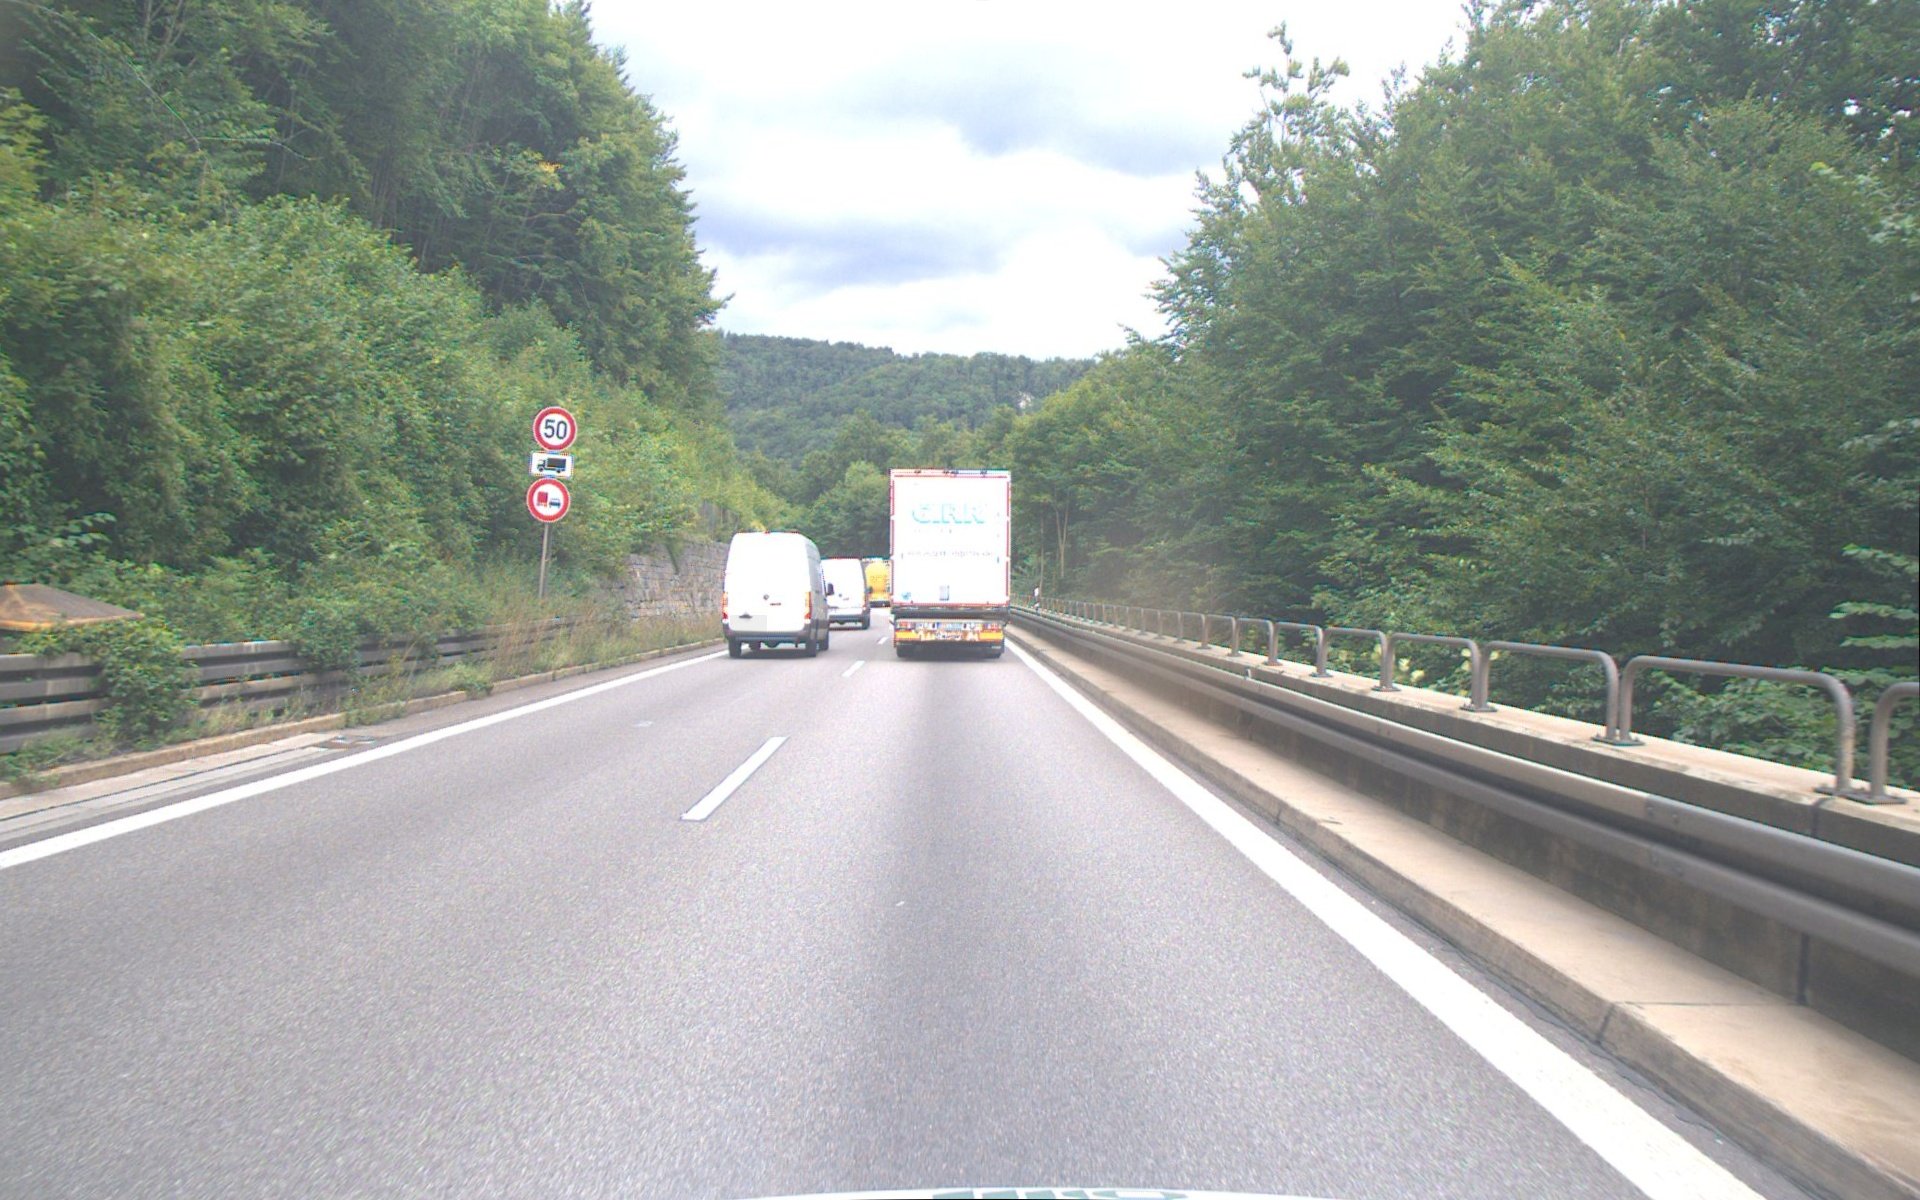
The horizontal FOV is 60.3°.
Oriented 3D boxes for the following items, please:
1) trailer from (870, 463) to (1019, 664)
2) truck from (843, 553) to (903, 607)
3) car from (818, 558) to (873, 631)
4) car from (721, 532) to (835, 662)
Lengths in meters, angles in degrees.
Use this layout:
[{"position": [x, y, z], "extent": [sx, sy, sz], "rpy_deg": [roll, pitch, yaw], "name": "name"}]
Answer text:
[{"position": [-0.435, -0.924, 40.149], "extent": [2.995, 4.055, 12.135], "rpy_deg": [1, 2, -1], "name": "trailer"}, {"position": [-7.055, -1.510, 131.543], "extent": [3.002, 4.056, 13.664], "rpy_deg": [2, 0, -10], "name": "truck"}, {"position": [-4.446, -0.218, 64.963], "extent": [1.900, 2.719, 5.989], "rpy_deg": [1, 0, -2], "name": "car"}, {"position": [-4.108, -0.084, 38.467], "extent": [1.948, 2.719, 6.935], "rpy_deg": [1, 0, -1], "name": "car"}]
